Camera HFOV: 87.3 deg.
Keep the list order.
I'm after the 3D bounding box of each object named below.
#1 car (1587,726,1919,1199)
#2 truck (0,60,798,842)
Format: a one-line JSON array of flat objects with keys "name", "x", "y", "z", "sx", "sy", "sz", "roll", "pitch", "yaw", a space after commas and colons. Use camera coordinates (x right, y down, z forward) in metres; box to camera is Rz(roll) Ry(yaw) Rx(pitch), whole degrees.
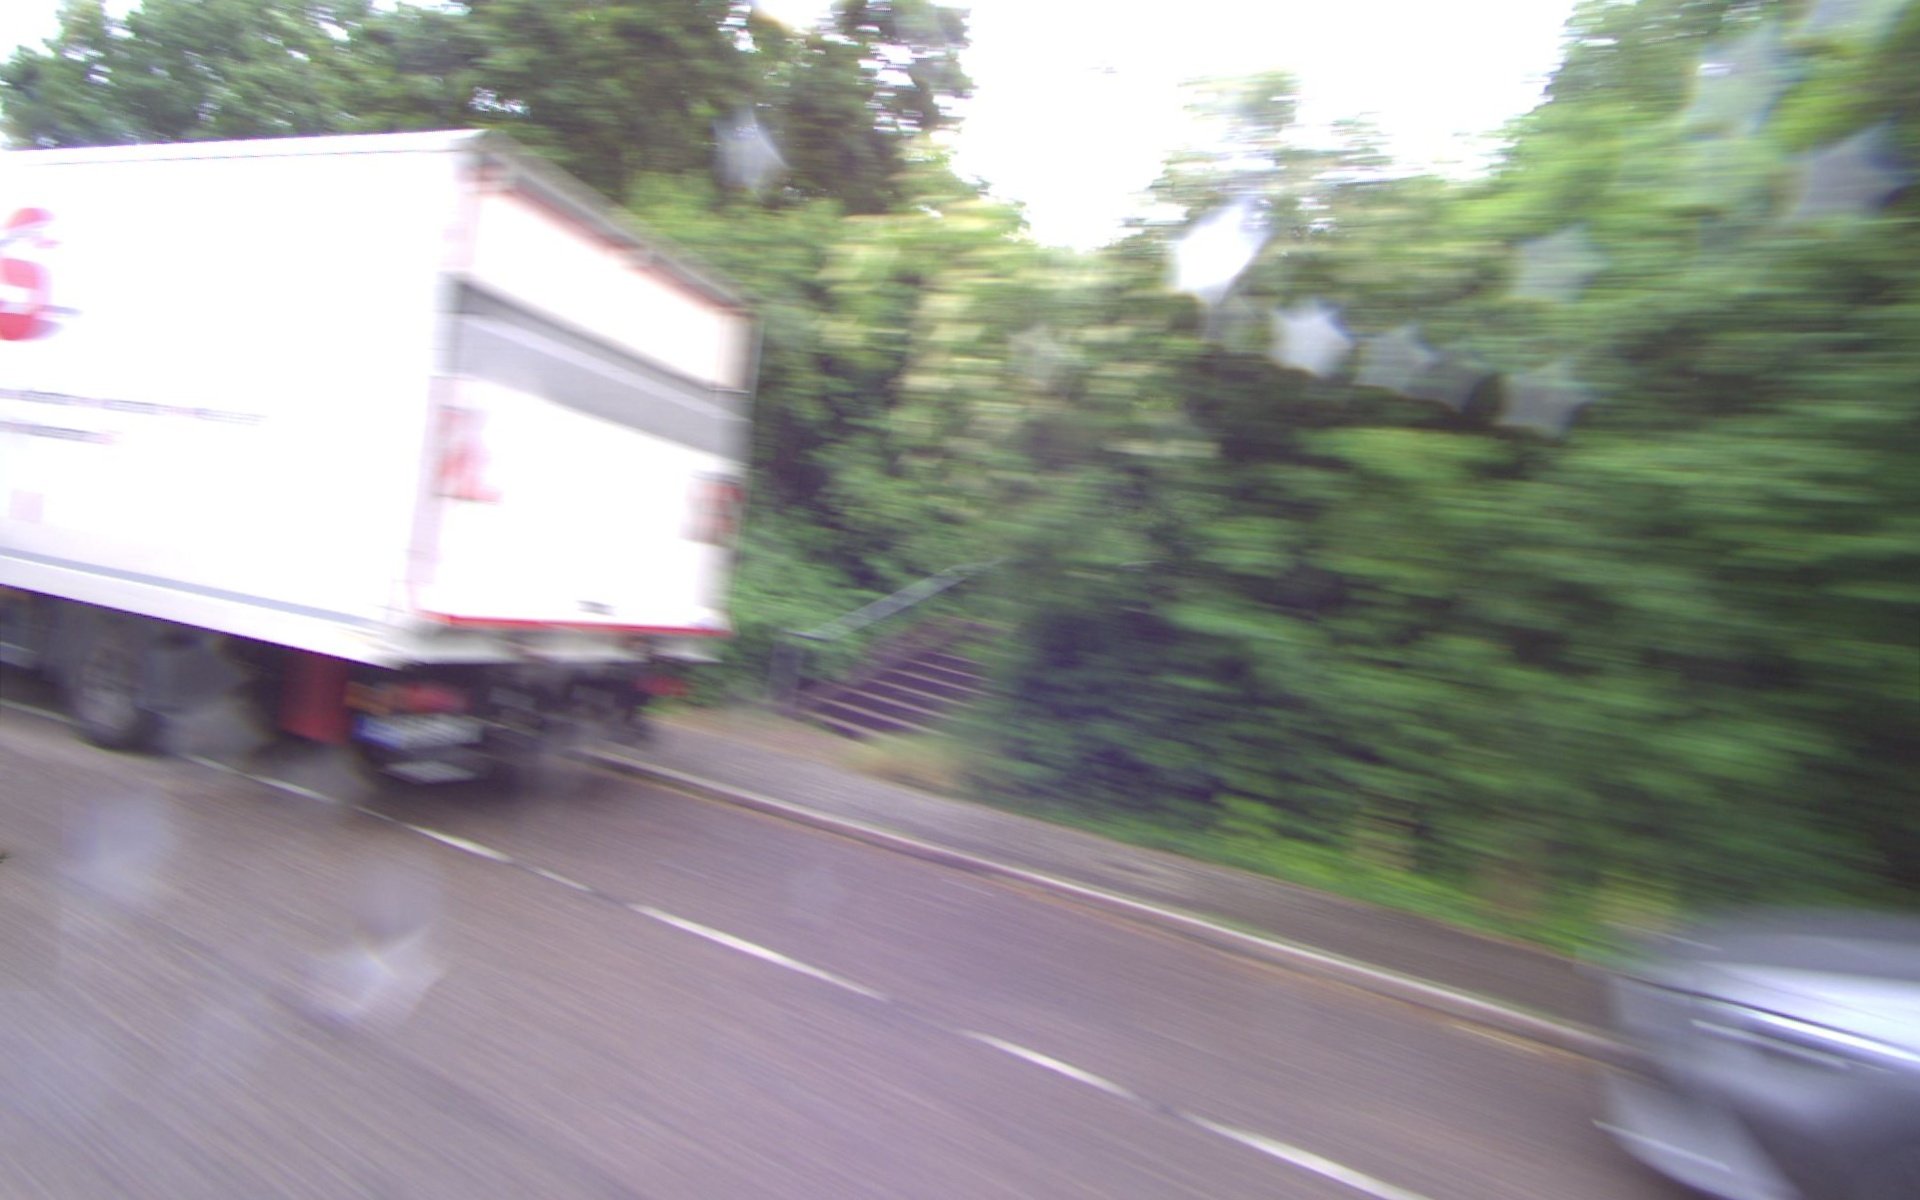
[{"name": "car", "x": 4.026, "y": 1.401, "z": 2.478, "sx": 4.058, "sy": 1.461, "sz": 1.723, "roll": 8, "pitch": -1, "yaw": 33}, {"name": "truck", "x": -5.746, "y": -1.075, "z": 7.450, "sx": 8.181, "sy": 3.616, "sz": 3.019, "roll": 8, "pitch": -1, "yaw": 20}]
